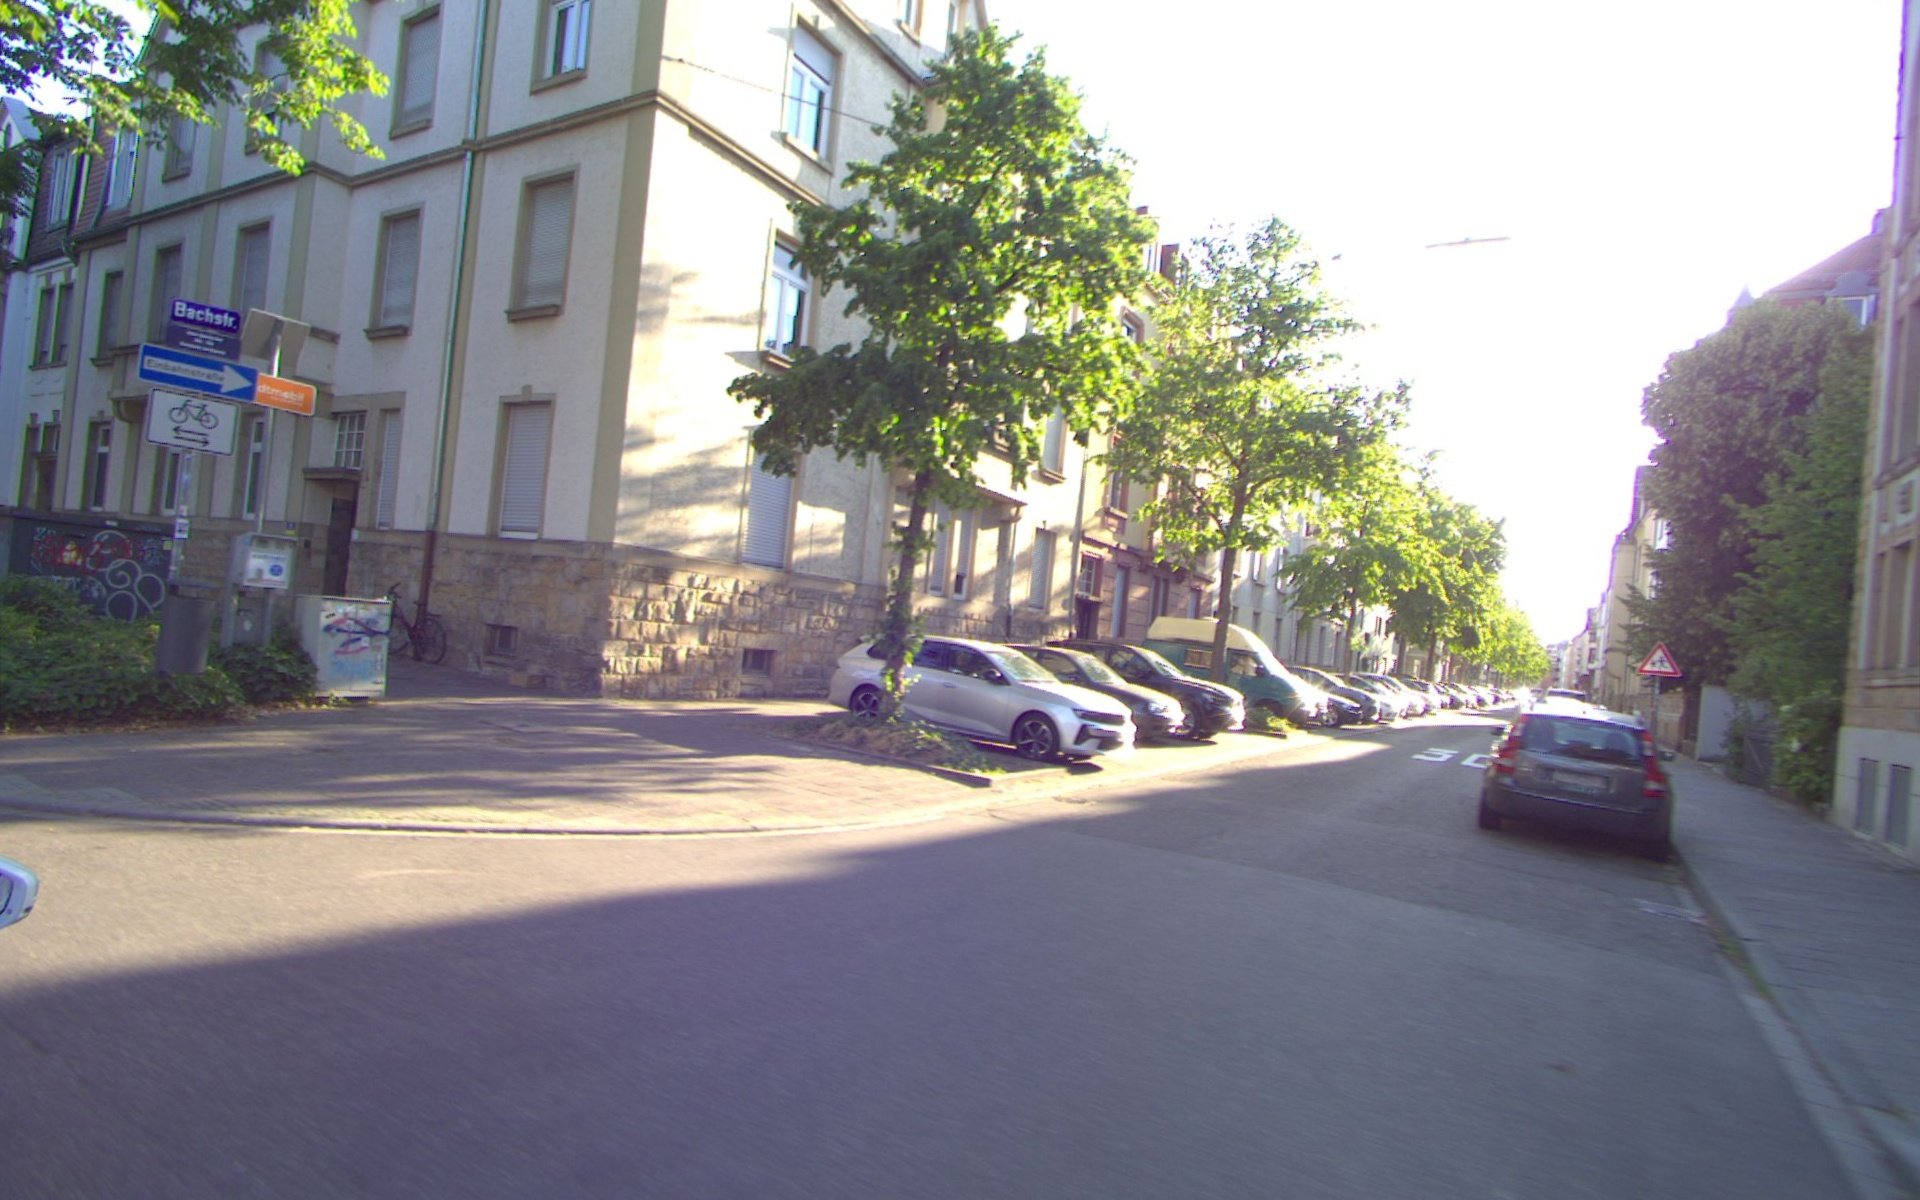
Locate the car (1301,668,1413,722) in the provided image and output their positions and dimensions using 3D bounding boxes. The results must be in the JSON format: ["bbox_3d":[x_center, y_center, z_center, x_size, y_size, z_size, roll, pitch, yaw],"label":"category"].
[{"bbox_3d":[15.733,3.749,39.884,3.788,1.615,1.668,6,-1,32],"label":"car"}]

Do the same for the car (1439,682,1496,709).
[{"bbox_3d":[39.128,7.343,77.587,3.727,1.615,1.668,6,-1,32],"label":"car"}]

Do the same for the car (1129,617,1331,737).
[{"bbox_3d":[6.856,1.903,25.701,4.448,2.449,1.874,6,-1,32],"label":"car"}]

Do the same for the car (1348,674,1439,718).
[{"bbox_3d":[20.926,4.611,48.589,3.727,1.615,1.668,6,-1,32],"label":"car"}]

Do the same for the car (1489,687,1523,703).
[{"bbox_3d":[70.668,12.309,130.258,3.727,1.615,1.668,6,-1,32],"label":"car"}]

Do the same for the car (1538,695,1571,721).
[{"bbox_3d":[40.218,7.300,68.083,1.728,1.493,4.164,6,-1,30],"label":"car"}]

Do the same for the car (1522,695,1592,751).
[{"bbox_3d":[19.620,3.987,33.121,1.728,1.493,4.164,6,-1,30],"label":"car"}]

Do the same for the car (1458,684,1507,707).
[{"bbox_3d":[48.041,8.785,92.510,3.727,1.615,1.668,6,-1,32],"label":"car"}]

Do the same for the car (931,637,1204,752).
[{"bbox_3d":[1.889,1.644,18.199,4.454,1.426,1.846,6,-1,32],"label":"car"}]

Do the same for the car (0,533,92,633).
[{"bbox_3d":[-15.458,-0.386,14.674,1.718,1.455,3.801,5,-1,27],"label":"car"}]

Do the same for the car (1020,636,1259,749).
[{"bbox_3d":[3.522,1.777,19.997,4.215,1.627,1.726,6,-1,32],"label":"car"}]

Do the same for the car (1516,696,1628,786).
[{"bbox_3d":[12.891,2.888,21.332,1.728,1.493,4.164,6,-1,30],"label":"car"}]

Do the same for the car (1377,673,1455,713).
[{"bbox_3d":[25.786,5.239,56.888,3.727,1.714,1.668,6,-1,32],"label":"car"}]

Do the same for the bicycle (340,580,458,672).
[{"bbox_3d":[-8.785,0.396,15.737,1.924,1.226,0.586,5,-1,29],"label":"bicycle"}]

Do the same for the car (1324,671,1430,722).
[{"bbox_3d":[17.388,3.999,41.973,3.727,1.615,1.668,6,-1,32],"label":"car"}]

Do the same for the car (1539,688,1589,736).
[{"bbox_3d":[27.491,5.071,45.888,1.728,1.861,4.164,6,-1,30],"label":"car"}]

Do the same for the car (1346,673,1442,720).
[{"bbox_3d":[19.895,4.398,46.164,3.727,1.615,1.668,6,-1,32],"label":"car"}]

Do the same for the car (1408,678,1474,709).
[{"bbox_3d":[32.329,6.290,67.662,3.727,1.615,1.668,6,-1,32],"label":"car"}]

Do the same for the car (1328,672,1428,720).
[{"bbox_3d":[18.456,4.218,44.471,3.727,1.615,1.668,6,-1,32],"label":"car"}]

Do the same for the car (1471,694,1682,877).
[{"bbox_3d":[7.086,1.965,11.733,1.628,1.493,4.164,7,-1,30],"label":"car"}]

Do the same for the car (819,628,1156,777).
[{"bbox_3d":[0.321,1.364,14.306,4.395,1.426,1.786,6,-1,32],"label":"car"}]

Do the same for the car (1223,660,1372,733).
[{"bbox_3d":[9.915,2.798,29.618,3.788,1.615,1.668,6,-1,32],"label":"car"}]

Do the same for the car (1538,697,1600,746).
[{"bbox_3d":[22.573,4.452,37.381,1.728,1.493,4.164,6,-1,30],"label":"car"}]

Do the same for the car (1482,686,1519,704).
[{"bbox_3d":[63.995,11.239,119.136,3.727,1.615,1.668,6,-1,32],"label":"car"}]

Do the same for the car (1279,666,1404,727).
[{"bbox_3d":[13.507,3.380,35.658,3.788,1.615,1.668,6,-1,32],"label":"car"}]

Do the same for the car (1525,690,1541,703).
[{"bbox_3d":[78.789,13.292,138.305,1.728,1.493,4.164,6,-1,30],"label":"car"}]

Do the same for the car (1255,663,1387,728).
[{"bbox_3d":[12.059,3.163,33.688,3.788,1.615,1.668,6,-1,32],"label":"car"}]

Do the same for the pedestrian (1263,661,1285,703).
[{"bbox_3d":[13.546,3.549,43.391,0.597,1.723,0.630,5,-1,33],"label":"pedestrian"}]

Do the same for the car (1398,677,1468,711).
[{"bbox_3d":[29.755,5.911,63.348,3.727,1.615,1.668,6,-1,32],"label":"car"}]
